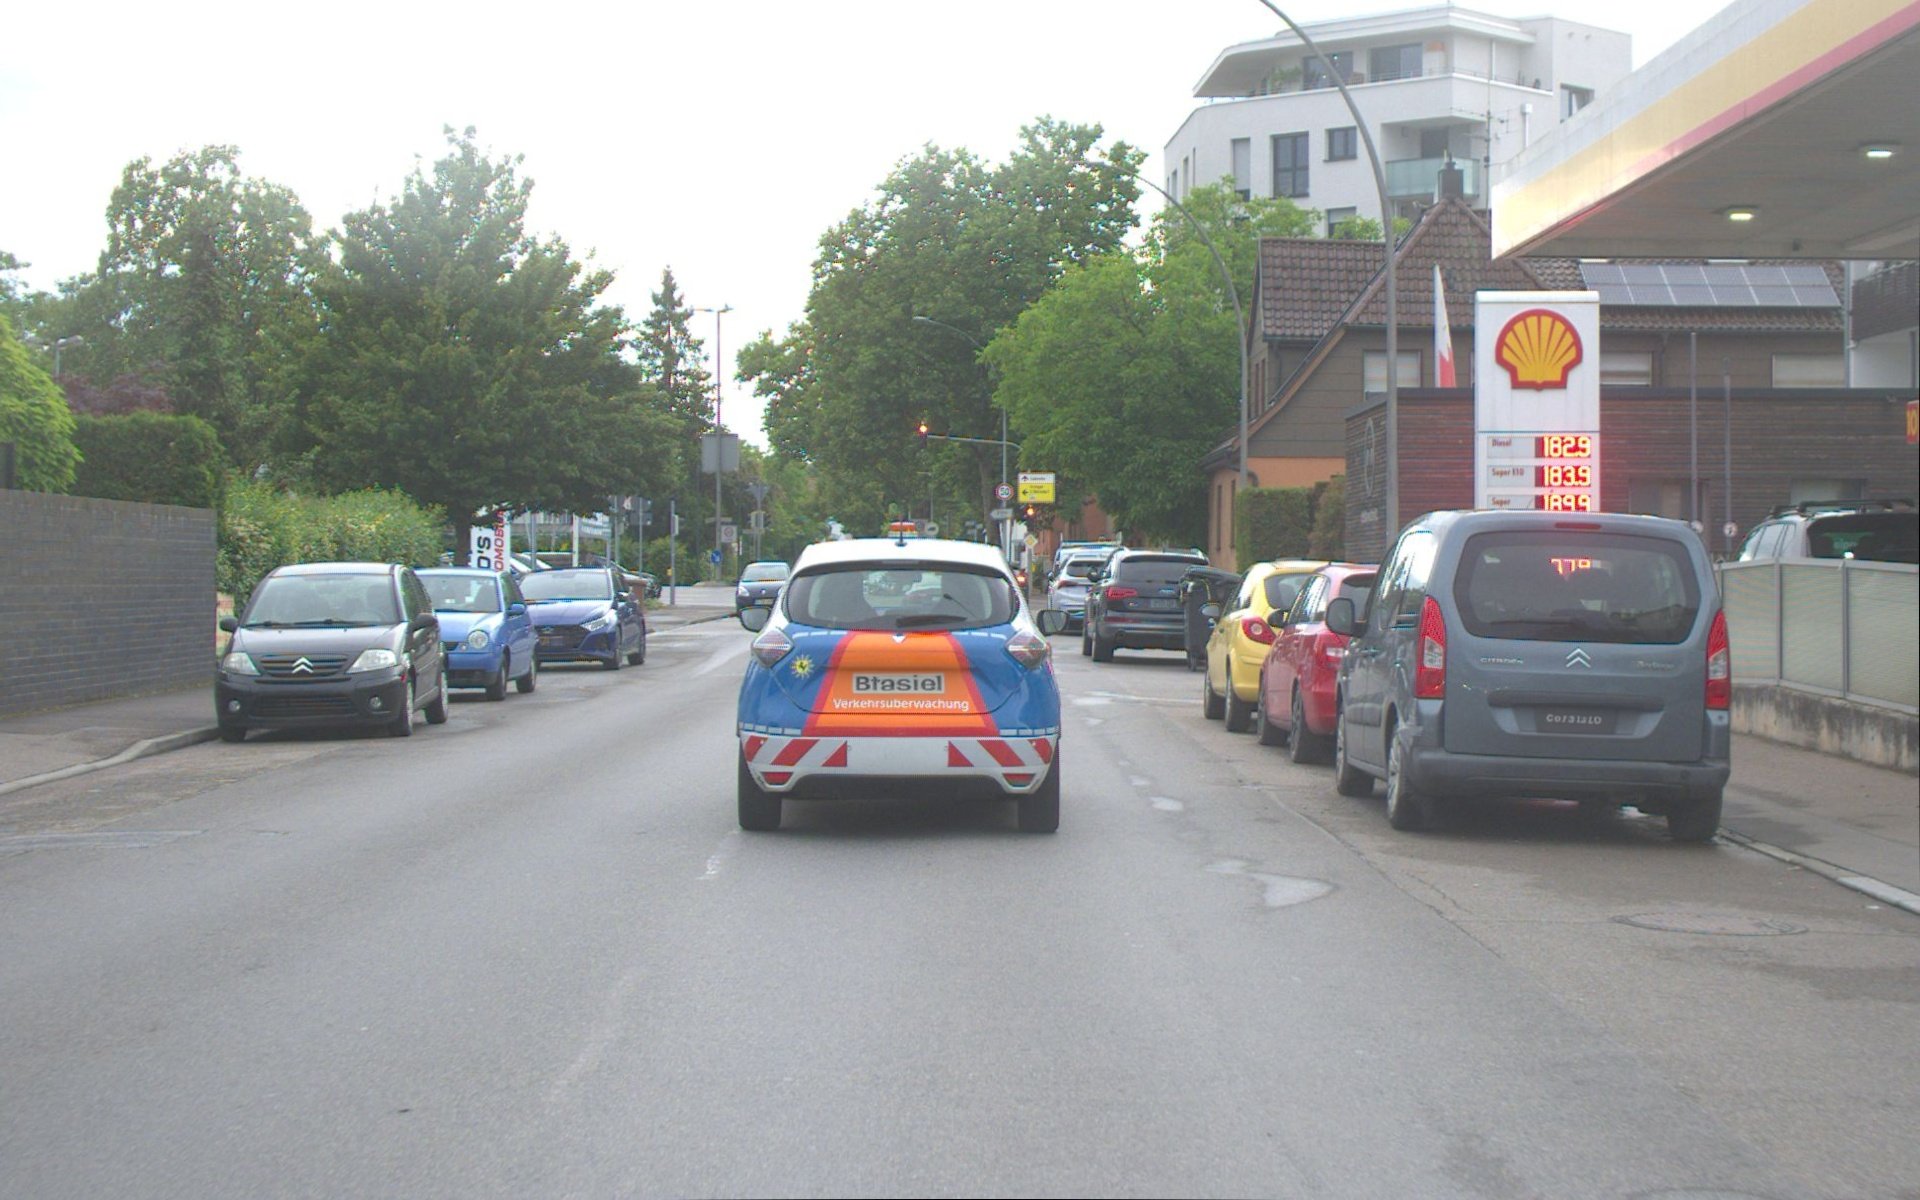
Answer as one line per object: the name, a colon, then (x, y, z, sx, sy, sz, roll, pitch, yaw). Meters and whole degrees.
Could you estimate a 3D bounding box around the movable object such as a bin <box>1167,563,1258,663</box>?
movable object such as a bin: (3.549, 0.167, 48.459, 1.126, 1.383, 1.504, 0, 1, -2)

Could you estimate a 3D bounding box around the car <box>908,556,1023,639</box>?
car: (0.143, -0.074, 71.391, 1.994, 1.568, 4.000, 2, 2, 5)

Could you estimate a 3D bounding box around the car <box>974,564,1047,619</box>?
car: (1.453, -0.264, 100.400, 1.794, 1.423, 4.001, 1, 2, -3)

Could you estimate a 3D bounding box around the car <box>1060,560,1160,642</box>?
car: (3.157, -0.008, 72.934, 1.865, 1.659, 4.320, 1, 1, -1)

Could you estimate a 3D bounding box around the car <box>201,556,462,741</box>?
car: (-5.503, 0.381, 30.498, 1.608, 1.501, 3.707, -1, 1, 0)

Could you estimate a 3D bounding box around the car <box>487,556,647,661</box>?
car: (-5.558, 0.090, 48.998, 1.807, 1.398, 3.945, -1, 1, 0)

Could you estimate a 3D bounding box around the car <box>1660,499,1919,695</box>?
car: (8.076, -0.058, 32.748, 1.819, 1.753, 4.001, 0, 1, -3)

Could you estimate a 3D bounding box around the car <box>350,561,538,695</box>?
car: (-5.735, 0.279, 38.559, 1.545, 1.398, 3.597, -1, 1, 0)

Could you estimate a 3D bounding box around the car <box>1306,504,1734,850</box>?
car: (3.147, 0.370, 20.157, 1.656, 1.732, 4.445, 3, 1, -1)

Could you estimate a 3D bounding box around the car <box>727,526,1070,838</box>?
car: (-0.322, 0.376, 19.545, 1.746, 1.575, 4.000, 0, 1, 0)

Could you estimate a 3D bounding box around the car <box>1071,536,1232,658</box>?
car: (2.827, -0.082, 51.754, 2.091, 1.656, 4.559, 2, 2, 0)

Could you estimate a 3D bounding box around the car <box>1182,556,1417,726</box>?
car: (2.945, 0.314, 30.471, 1.656, 1.397, 3.802, 0, 1, -1)

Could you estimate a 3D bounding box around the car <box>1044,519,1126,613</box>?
car: (2.892, -0.807, 79.080, 1.778, 2.022, 4.753, 2, 2, 2)

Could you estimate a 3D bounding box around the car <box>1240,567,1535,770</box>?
car: (3.120, 0.456, 25.773, 1.656, 1.372, 4.025, 0, 1, -1)

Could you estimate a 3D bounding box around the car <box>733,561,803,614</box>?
car: (-5.299, -0.358, 95.198, 1.626, 1.428, 3.683, 0, 1, 2)

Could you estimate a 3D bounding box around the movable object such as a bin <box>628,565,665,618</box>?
movable object such as a bin: (-6.748, -0.179, 74.094, 0.708, 1.126, 0.735, 1, 1, 0)
